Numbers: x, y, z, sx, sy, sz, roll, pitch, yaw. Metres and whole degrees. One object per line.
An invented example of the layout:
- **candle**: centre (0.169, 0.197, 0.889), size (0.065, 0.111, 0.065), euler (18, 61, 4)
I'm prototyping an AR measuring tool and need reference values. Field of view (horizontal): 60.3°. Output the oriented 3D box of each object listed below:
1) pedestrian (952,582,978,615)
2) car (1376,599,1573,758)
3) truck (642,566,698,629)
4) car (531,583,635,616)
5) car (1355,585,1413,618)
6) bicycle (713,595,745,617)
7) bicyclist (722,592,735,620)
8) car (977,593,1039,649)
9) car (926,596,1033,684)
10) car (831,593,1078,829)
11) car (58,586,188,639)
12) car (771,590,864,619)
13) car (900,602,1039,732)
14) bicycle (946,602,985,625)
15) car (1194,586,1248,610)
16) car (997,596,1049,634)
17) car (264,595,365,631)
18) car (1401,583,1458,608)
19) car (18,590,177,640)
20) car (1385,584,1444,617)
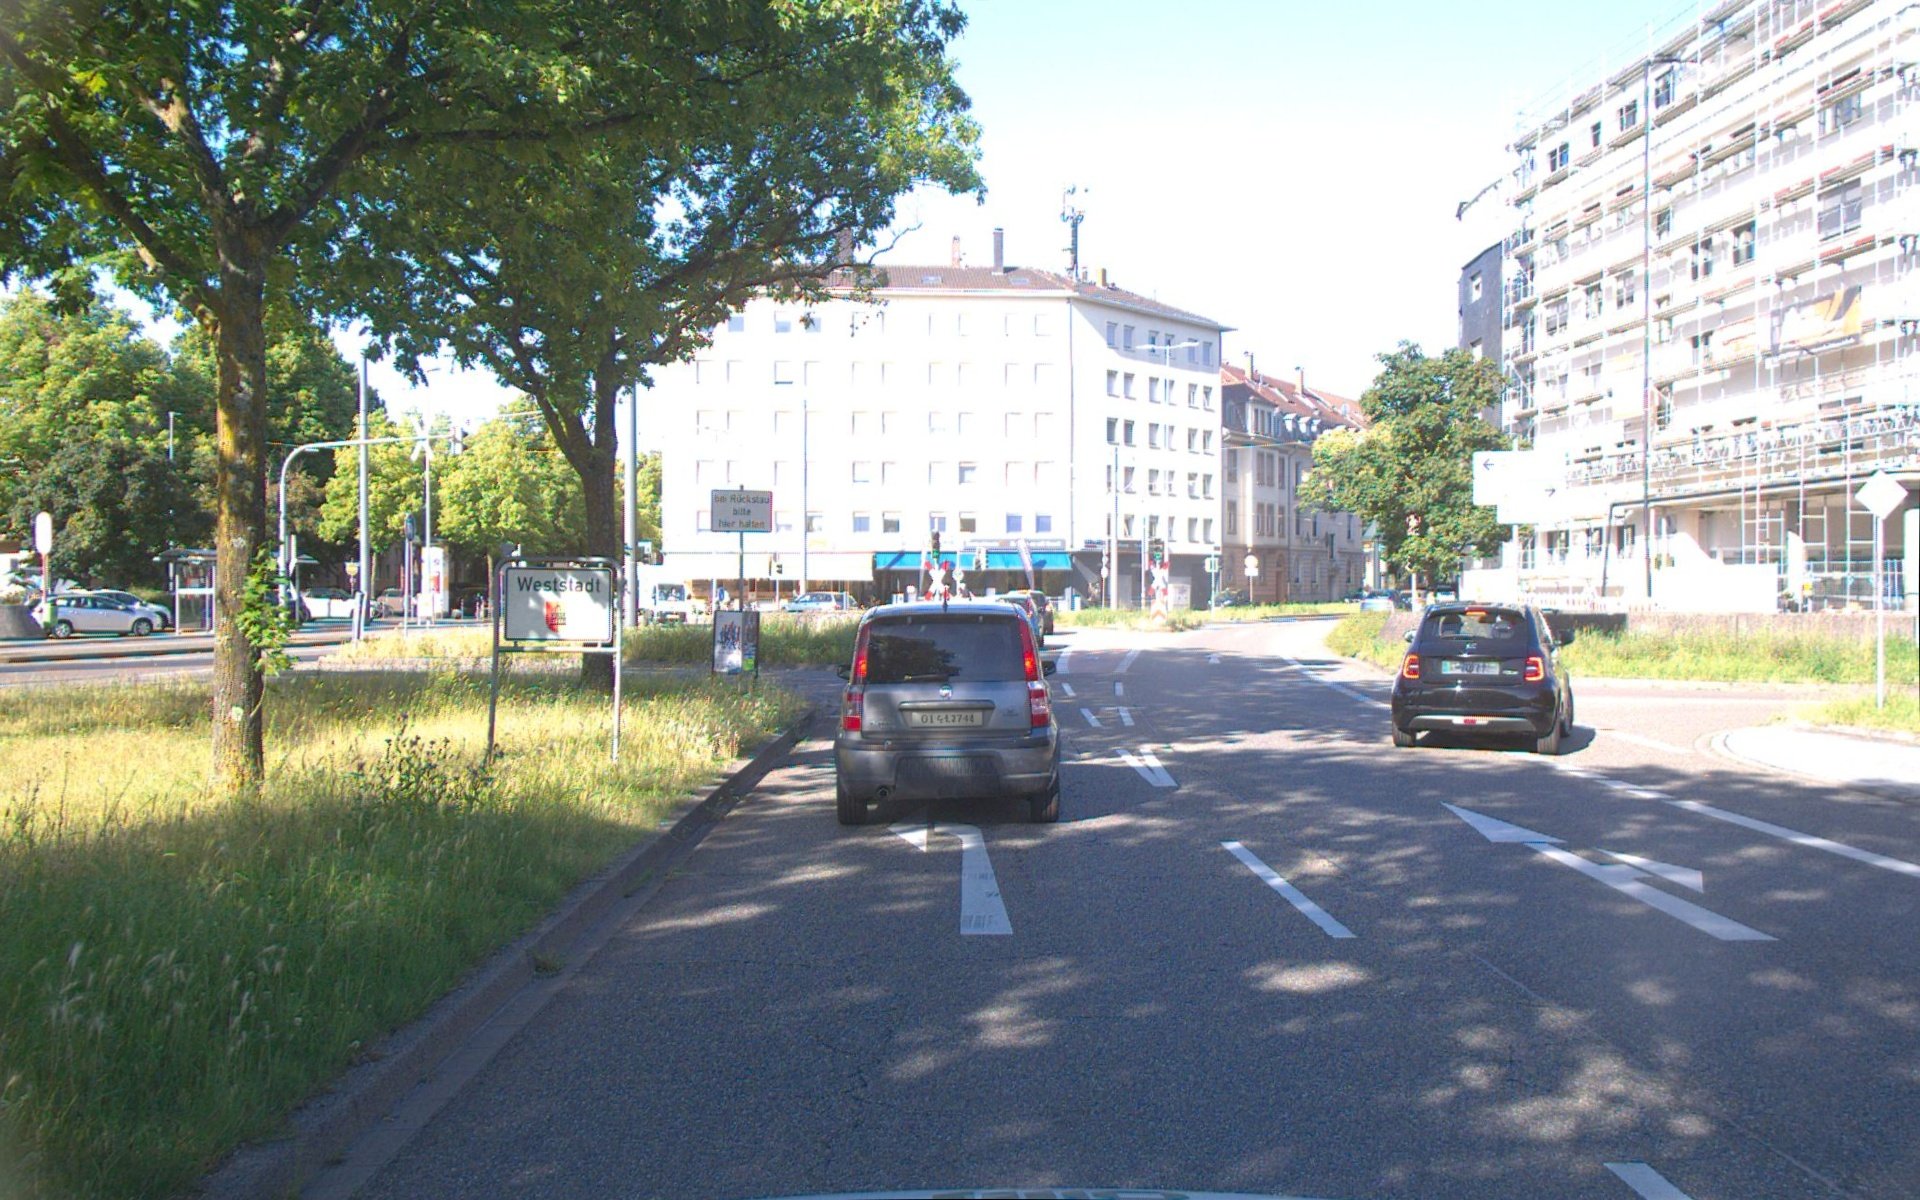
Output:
- **pedestrian**: centre (0.229, -0.076, 73.950), size (0.768, 1.452, 0.926), euler (2, -1, -38)
- **car**: centre (5.491, 0.763, 18.022), size (1.638, 1.529, 3.565), euler (0, 0, 11)
- **truck**: centre (-11.860, -0.105, 67.477), size (1.760, 2.469, 4.090), euler (0, 0, -17)
- **car**: centre (-17.139, -0.017, 75.224), size (4.294, 1.474, 1.670), euler (0, 0, 10)
- **car**: centre (19.960, 0.057, 77.768), size (1.742, 1.468, 3.611), euler (1, 1, 31)
- **bicycle**: centre (-11.570, 0.285, 82.780), size (1.555, 1.109, 0.529), euler (0, 0, -18)
- **bicyclist**: centre (-11.587, 0.284, 82.757), size (0.586, 1.380, 0.529), euler (0, 0, -18)
- **car**: centre (1.286, 0.547, 44.908), size (1.612, 1.463, 3.396), euler (0, 0, 1)
- **car**: centre (0.429, 0.690, 31.003), size (1.723, 1.512, 4.296), euler (0, 0, 4)
- **car**: centre (-0.031, 0.725, 12.527), size (1.626, 1.536, 3.251), euler (0, 0, 0)
- **car**: centre (-30.471, 0.428, 60.293), size (1.724, 1.747, 3.997), euler (3, 2, 25)
- **car**: centre (-6.617, 0.189, 76.594), size (3.918, 1.264, 1.994), euler (1, 0, 34)
- **car**: centre (0.063, 0.771, 20.828), size (1.588, 1.454, 3.687), euler (0, 0, -2)
- **bicycle**: centre (0.258, 0.599, 73.869), size (0.777, 0.968, 1.830), euler (2, -1, -38)
- **car**: centre (15.379, -0.132, 97.286), size (1.759, 1.420, 3.714), euler (0, 0, 33)
- **car**: centre (2.138, 0.508, 56.726), size (1.656, 1.275, 3.625), euler (0, 0, 0)
- **car**: centre (-29.831, 0.593, 76.503), size (3.910, 1.599, 1.997), euler (-1, 0, -6)
- **car**: centre (30.820, -0.315, 108.702), size (1.872, 1.621, 3.985), euler (0, 0, -14)
- **car**: centre (-29.720, 0.496, 57.099), size (1.839, 1.570, 4.523), euler (4, 3, 41)
- **car**: centre (22.542, 0.004, 81.967), size (1.786, 1.534, 3.991), euler (0, 1, 32)
